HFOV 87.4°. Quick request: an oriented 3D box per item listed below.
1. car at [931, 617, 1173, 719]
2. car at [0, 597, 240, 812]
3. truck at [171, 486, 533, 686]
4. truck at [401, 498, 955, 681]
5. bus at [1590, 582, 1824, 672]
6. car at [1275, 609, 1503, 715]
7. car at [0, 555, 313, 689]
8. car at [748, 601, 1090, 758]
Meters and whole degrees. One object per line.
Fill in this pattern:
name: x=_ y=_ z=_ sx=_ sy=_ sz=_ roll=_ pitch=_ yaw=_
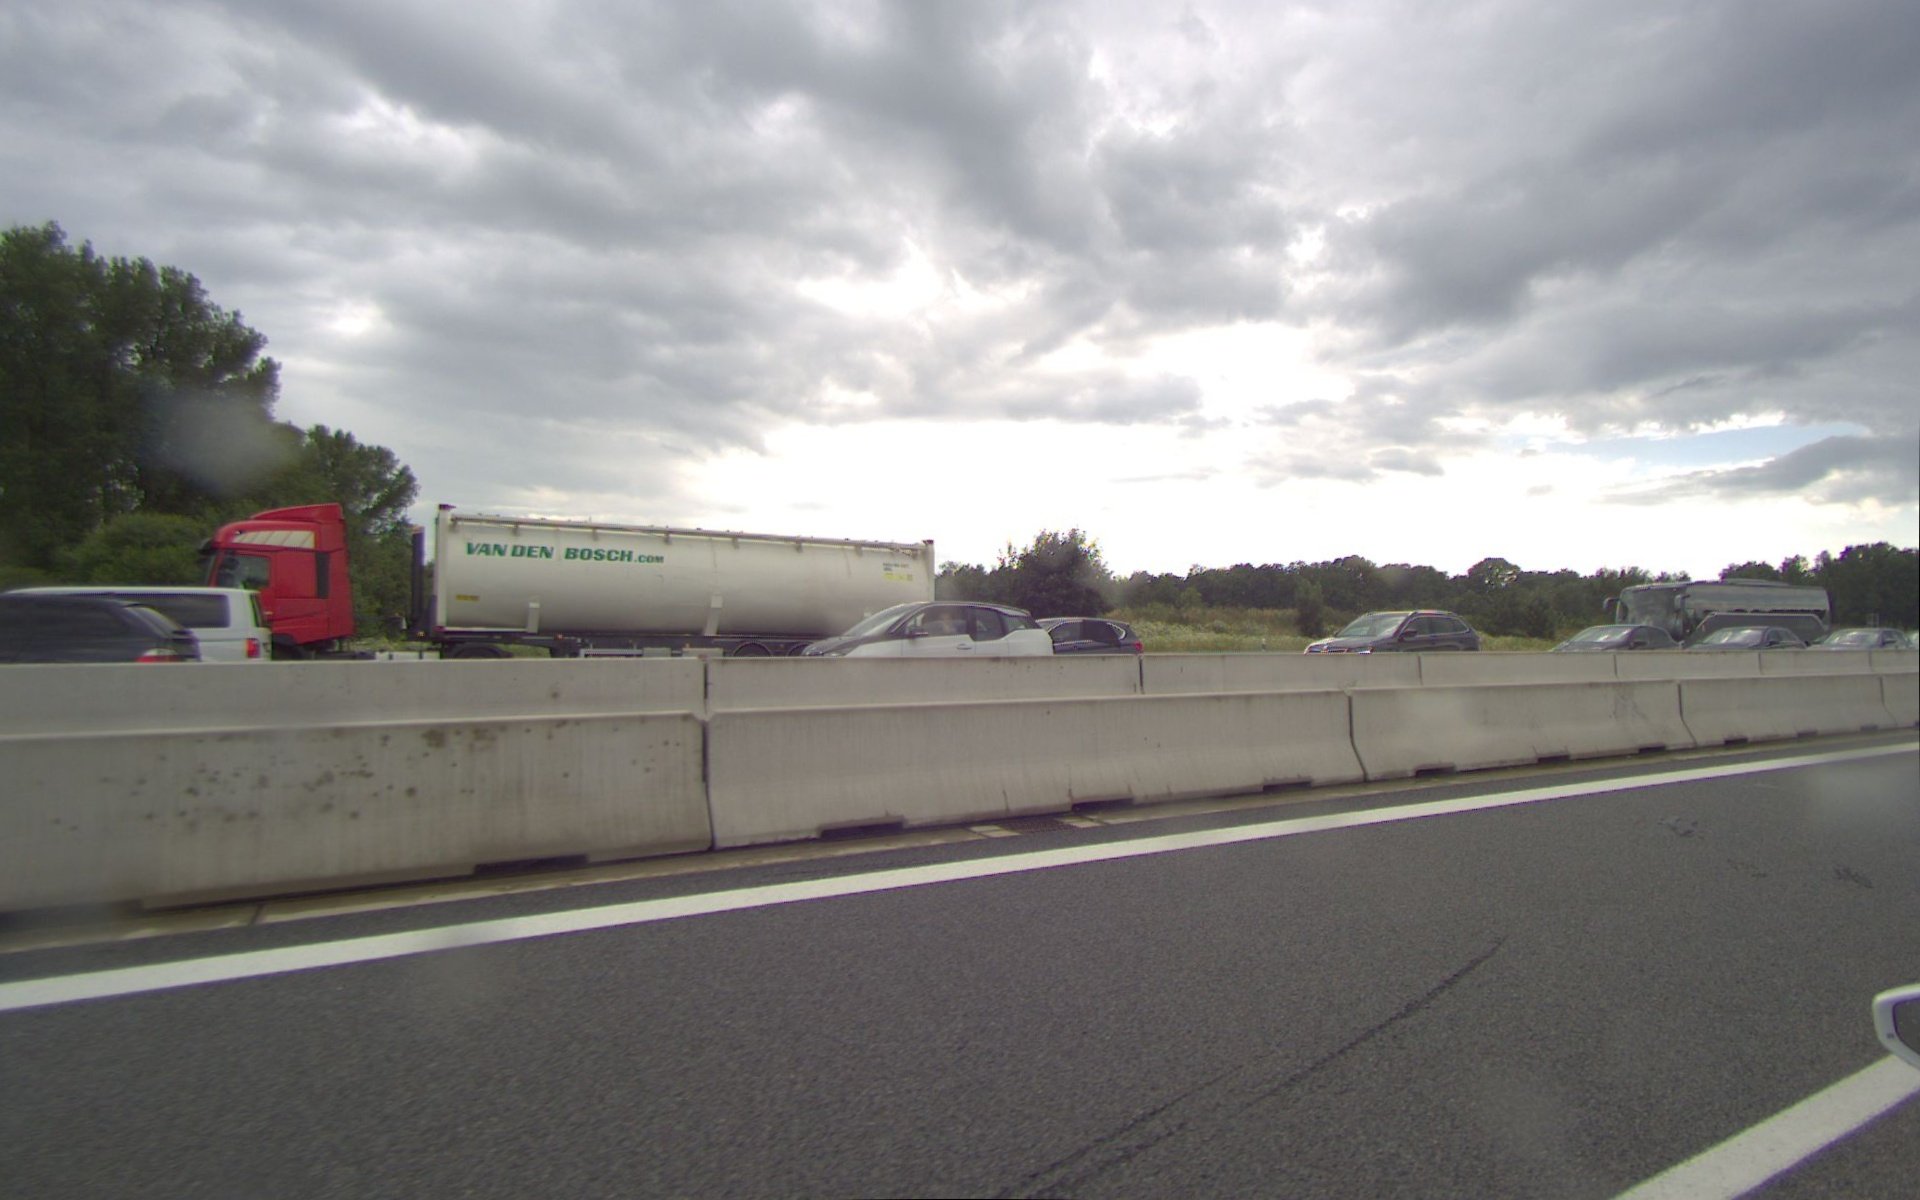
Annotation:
car: x=2.002 y=1.361 z=21.342 sx=4.873 sy=1.929 sz=1.984 roll=1 pitch=0 yaw=-31
car: x=-10.060 y=0.961 z=9.844 sx=4.640 sy=1.993 sz=1.984 roll=1 pitch=0 yaw=-30
truck: x=-12.846 y=-0.205 z=21.834 sx=6.242 sy=3.761 sz=3.136 roll=1 pitch=0 yaw=-29
truck: x=-6.605 y=-0.084 z=25.439 sx=13.142 sy=3.795 sz=3.134 roll=1 pitch=0 yaw=-30
bus: x=32.167 y=1.183 z=42.891 sx=13.830 sy=3.430 sz=2.675 roll=1 pitch=0 yaw=-30
car: x=9.025 y=1.229 z=21.051 sx=4.640 sy=1.993 sz=1.984 roll=1 pitch=0 yaw=-30
car: x=-13.178 y=0.356 z=16.447 sx=4.162 sy=1.973 sz=1.984 roll=1 pitch=0 yaw=-30
car: x=-0.556 y=1.060 z=14.813 sx=4.640 sy=1.993 sz=1.984 roll=1 pitch=0 yaw=-30
